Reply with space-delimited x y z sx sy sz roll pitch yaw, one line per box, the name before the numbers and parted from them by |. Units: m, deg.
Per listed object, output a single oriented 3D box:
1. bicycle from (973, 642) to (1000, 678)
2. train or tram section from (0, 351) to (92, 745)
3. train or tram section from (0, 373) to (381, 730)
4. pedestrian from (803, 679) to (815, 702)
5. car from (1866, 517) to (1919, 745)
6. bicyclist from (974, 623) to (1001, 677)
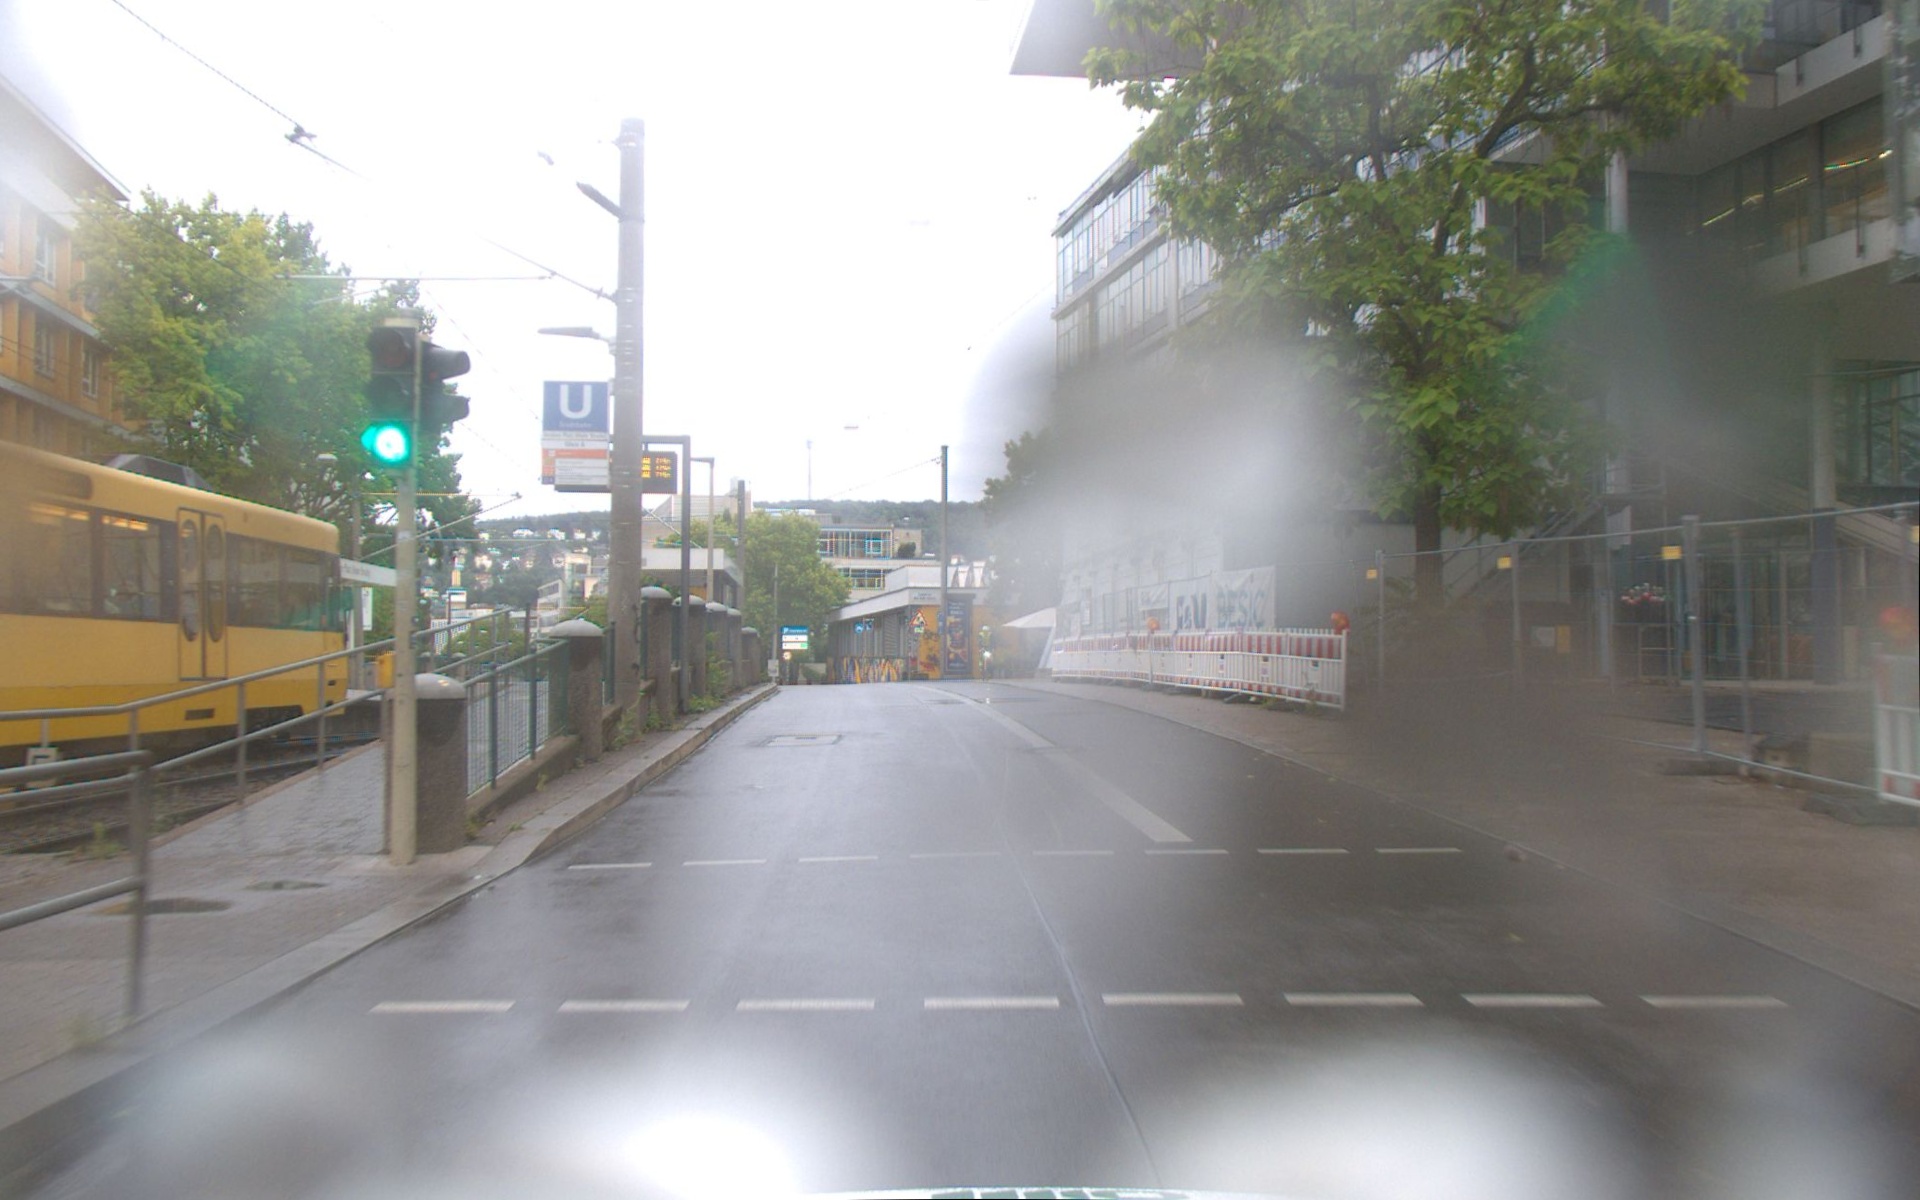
bicycle | 0.841 1.929 52.825 0.649 1.071 2.054 -3 -3 -4
train or tram section | -10.423 -0.512 12.671 2.722 3.756 9.506 1 0 -2
train or tram section | -10.766 -0.528 22.281 2.722 3.756 9.710 1 0 -2
pedestrian | -12.586 7.560 137.775 0.793 1.897 1.052 -2 -4 -12
car | 9.632 0.261 13.375 1.971 2.017 4.194 0 0 -7
bicyclist | 0.881 1.598 52.851 0.649 1.667 0.792 -4 -2 -5
